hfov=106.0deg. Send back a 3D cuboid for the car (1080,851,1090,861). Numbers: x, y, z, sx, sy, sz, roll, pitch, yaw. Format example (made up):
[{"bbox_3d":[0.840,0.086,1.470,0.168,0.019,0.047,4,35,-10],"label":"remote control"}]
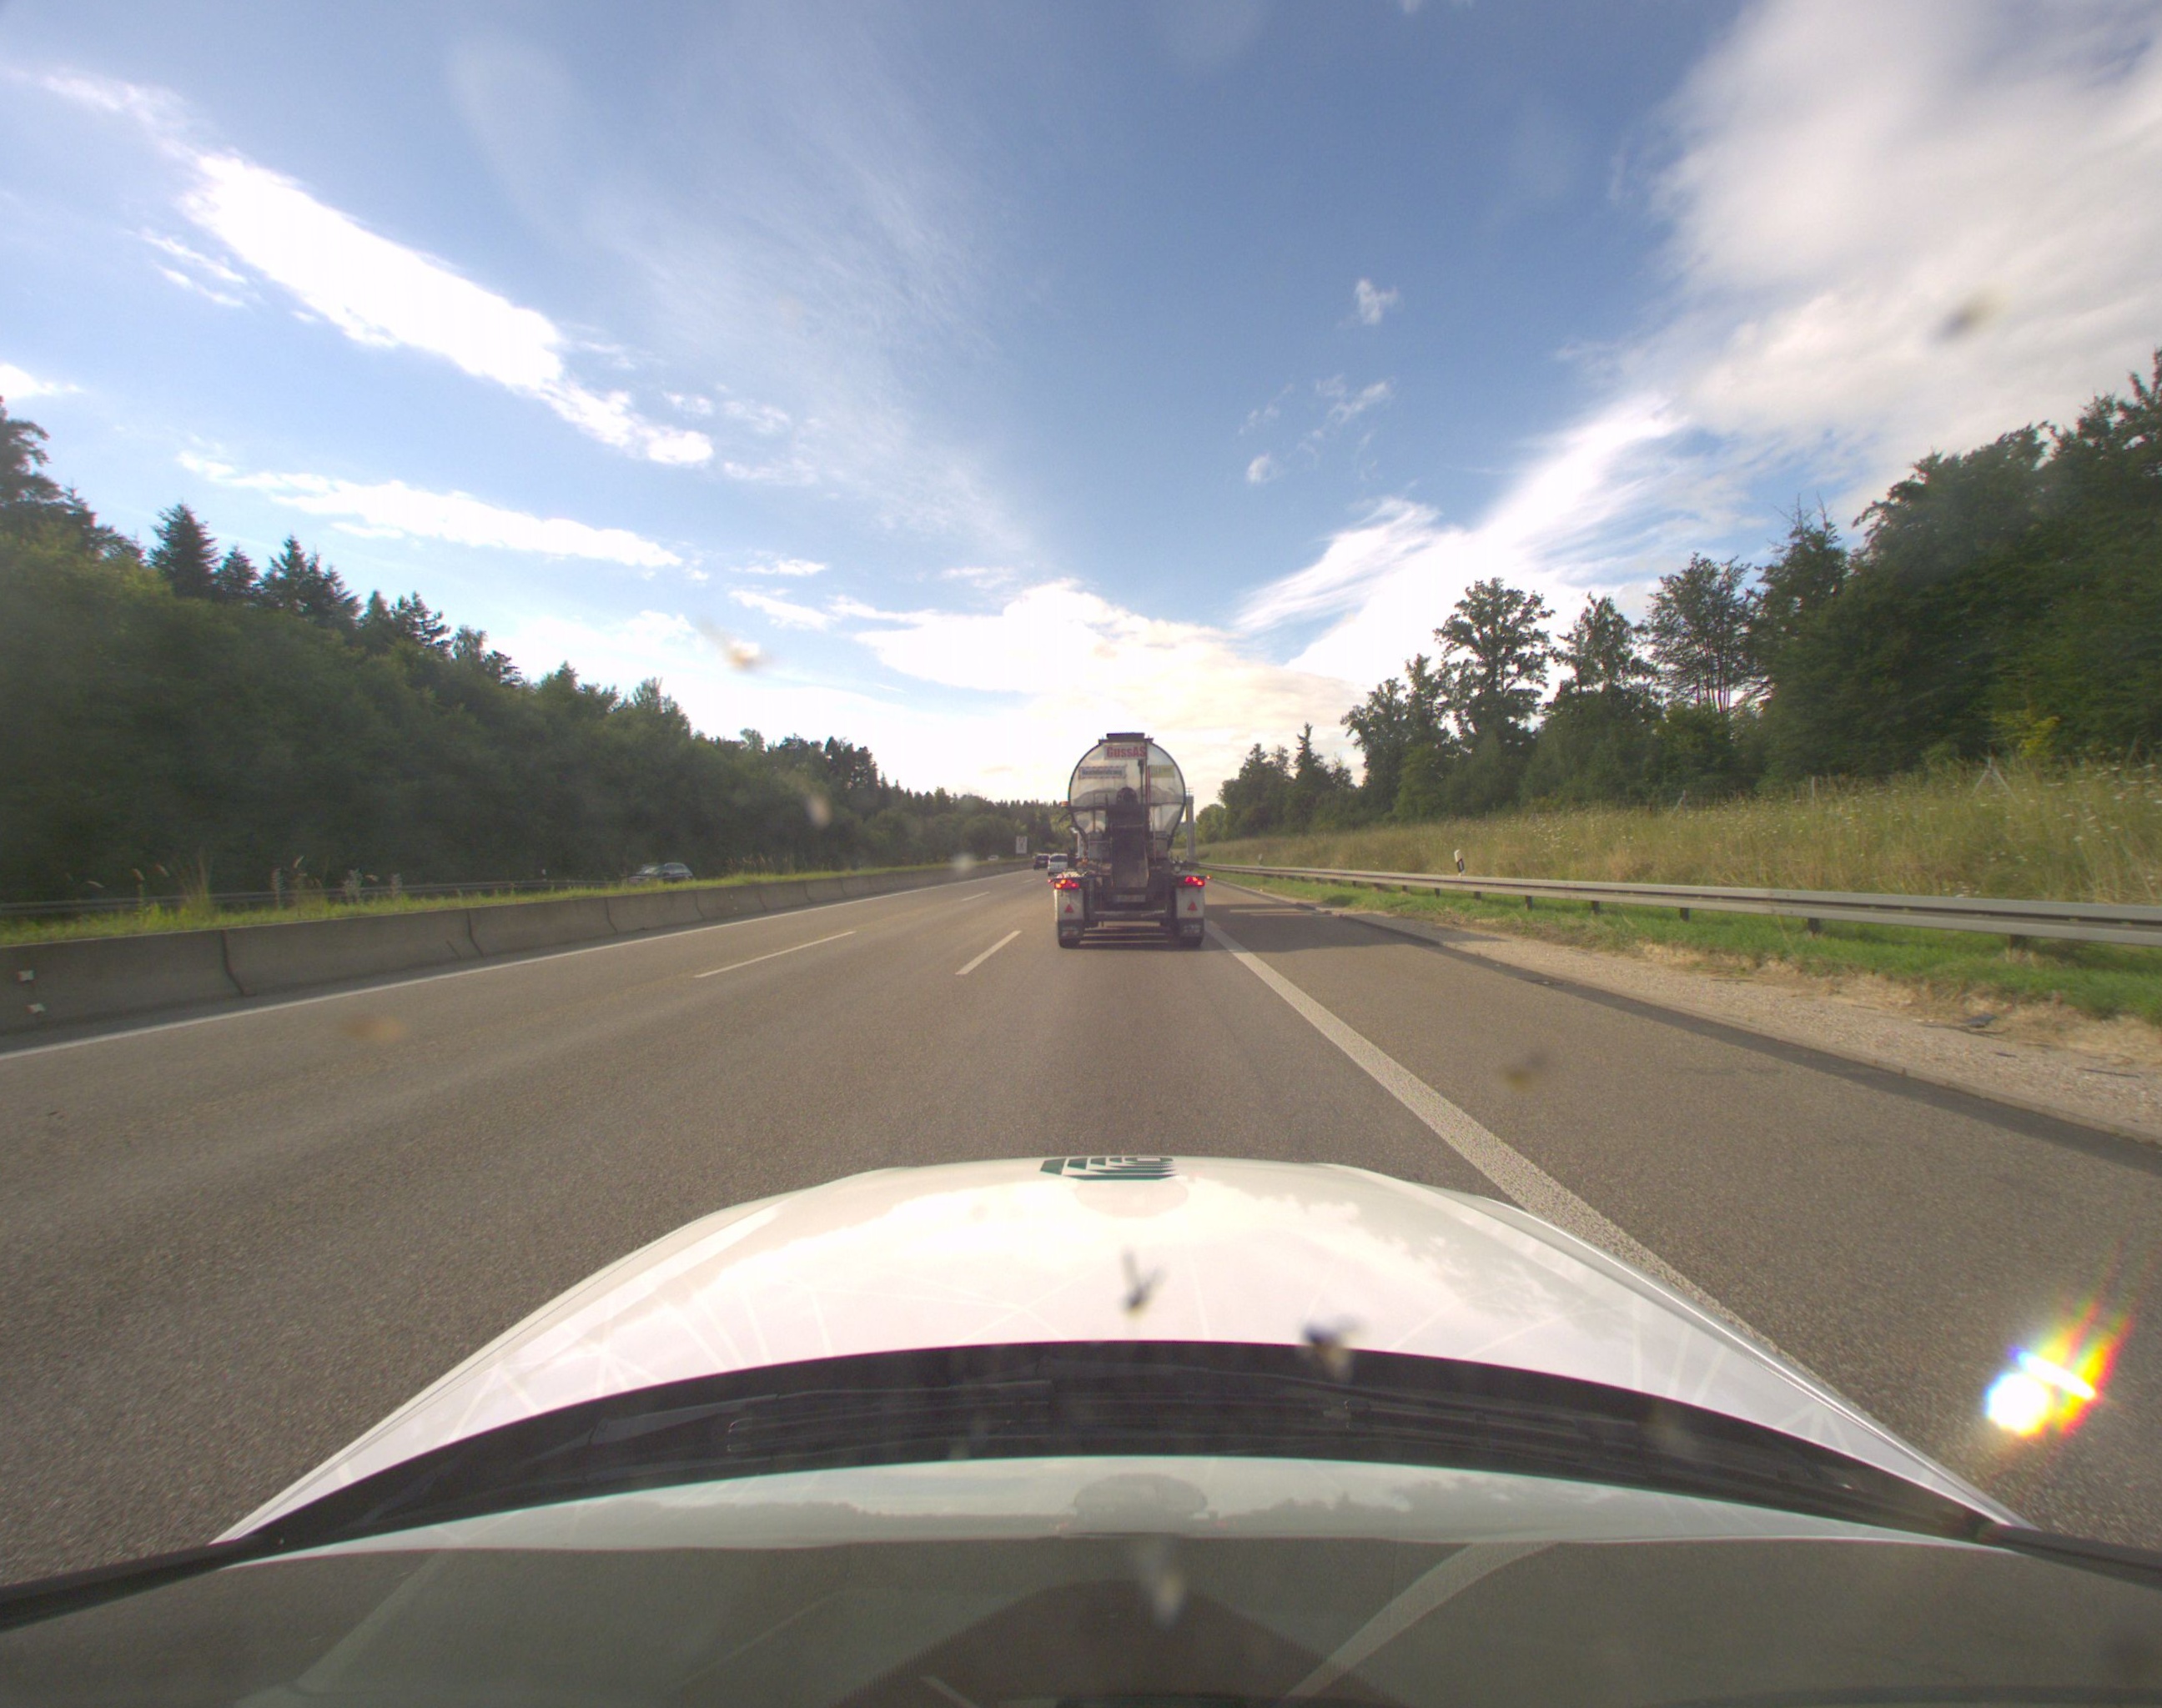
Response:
[{"bbox_3d":[0.799,0.401,153.419,1.839,1.783,4.001,-1,0,1],"label":"car"}]

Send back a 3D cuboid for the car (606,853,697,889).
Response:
[{"bbox_3d":[-20.903,0.763,39.840,1.872,1.628,4.572,-1,0,2],"label":"car"}]

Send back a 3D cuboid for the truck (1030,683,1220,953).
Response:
[{"bbox_3d":[0.971,-0.565,18.326,2.901,4.157,11.278,-1,0,3],"label":"truck"}]

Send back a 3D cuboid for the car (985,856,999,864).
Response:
[{"bbox_3d":[-15.672,1.042,143.362,1.809,1.290,3.547,-1,0,3],"label":"car"}]

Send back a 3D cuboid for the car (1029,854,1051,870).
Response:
[{"bbox_3d":[-4.087,0.761,82.145,1.828,1.517,4.336,-1,0,3],"label":"car"}]

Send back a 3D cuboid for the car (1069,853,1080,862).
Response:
[{"bbox_3d":[-1.023,0.581,132.445,1.612,1.545,3.521,0,0,2],"label":"car"}]

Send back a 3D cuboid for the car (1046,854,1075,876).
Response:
[{"bbox_3d":[-1.496,0.772,60.412,1.828,1.517,4.336,-1,0,3],"label":"car"}]
